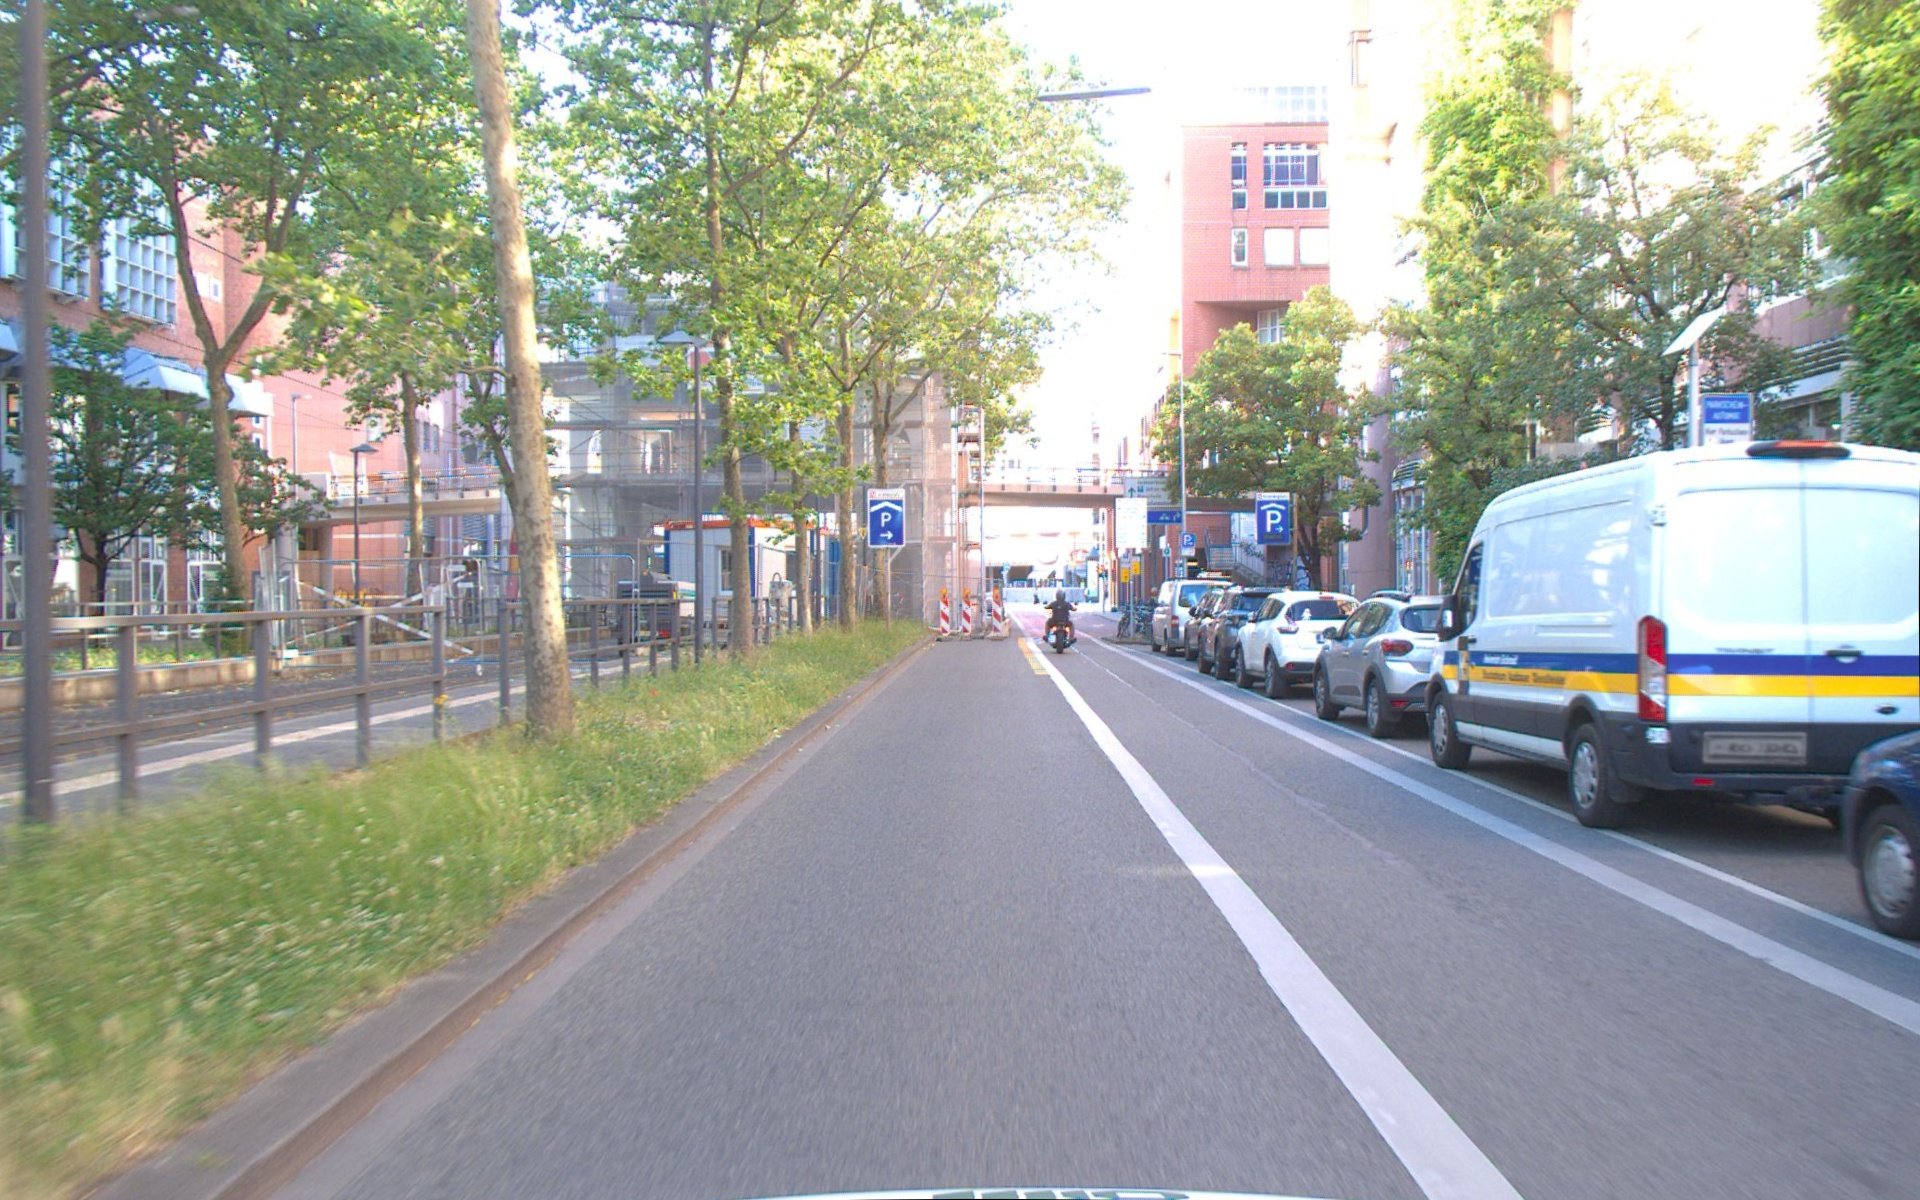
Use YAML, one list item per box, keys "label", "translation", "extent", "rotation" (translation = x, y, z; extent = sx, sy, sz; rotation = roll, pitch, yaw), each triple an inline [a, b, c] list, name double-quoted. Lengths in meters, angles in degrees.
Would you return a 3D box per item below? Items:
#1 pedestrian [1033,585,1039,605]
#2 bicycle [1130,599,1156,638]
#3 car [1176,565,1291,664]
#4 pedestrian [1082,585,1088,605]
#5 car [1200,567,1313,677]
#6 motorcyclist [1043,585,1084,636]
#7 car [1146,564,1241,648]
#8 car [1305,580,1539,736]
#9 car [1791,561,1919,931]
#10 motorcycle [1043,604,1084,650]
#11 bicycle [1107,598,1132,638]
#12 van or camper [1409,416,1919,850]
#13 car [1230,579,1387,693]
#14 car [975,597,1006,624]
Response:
- label: "pedestrian"
  translation: [7.367, -0.471, 160.208]
  extent: [0.530, 1.914, 0.529]
  rotation: [0, 0, 13]
- label: "bicycle"
  translation: [5.984, 0.593, 54.173]
  extent: [0.650, 1.256, 2.228]
  rotation: [0, 0, 2]
- label: "car"
  translation: [5.980, 0.286, 36.641]
  extent: [1.798, 2.049, 4.388]
  rotation: [-1, 0, 0]
- label: "pedestrian"
  translation: [12.037, -0.493, 159.187]
  extent: [0.530, 1.914, 0.529]
  rotation: [0, 0, 13]
- label: "car"
  translation: [5.398, 0.364, 30.524]
  extent: [1.586, 1.898, 3.776]
  rotation: [-1, 0, 3]
- label: "motorcyclist"
  translation: [2.646, 0.261, 42.498]
  extent: [0.991, 1.285, 0.774]
  rotation: [2, 0, 2]
- label: "car"
  translation: [5.953, 0.135, 42.616]
  extent: [1.798, 2.049, 4.388]
  rotation: [-1, 0, 0]
- label: "car"
  translation: [5.270, 0.595, 19.327]
  extent: [1.587, 1.631, 3.773]
  rotation: [-1, 0, -1]
- label: "car"
  translation: [5.053, 0.650, 6.231]
  extent: [1.587, 1.647, 4.485]
  rotation: [-1, 0, 0]
- label: "motorcycle"
  translation: [2.642, 0.672, 42.402]
  extent: [0.997, 1.116, 2.008]
  rotation: [0, 1, 2]
- label: "bicycle"
  translation: [5.215, 0.589, 54.215]
  extent: [0.650, 1.256, 2.228]
  rotation: [0, 0, 2]
- label: "van or camper"
  translation: [5.248, 0.174, 12.807]
  extent: [2.006, 2.585, 5.773]
  rotation: [-1, 0, 0]
- label: "car"
  translation: [5.370, 0.513, 25.902]
  extent: [1.587, 1.638, 3.773]
  rotation: [-1, 0, -1]
- label: "car"
  translation: [1.997, 0.688, 109.170]
  extent: [1.815, 1.747, 3.998]
  rotation: [-1, 0, -3]
